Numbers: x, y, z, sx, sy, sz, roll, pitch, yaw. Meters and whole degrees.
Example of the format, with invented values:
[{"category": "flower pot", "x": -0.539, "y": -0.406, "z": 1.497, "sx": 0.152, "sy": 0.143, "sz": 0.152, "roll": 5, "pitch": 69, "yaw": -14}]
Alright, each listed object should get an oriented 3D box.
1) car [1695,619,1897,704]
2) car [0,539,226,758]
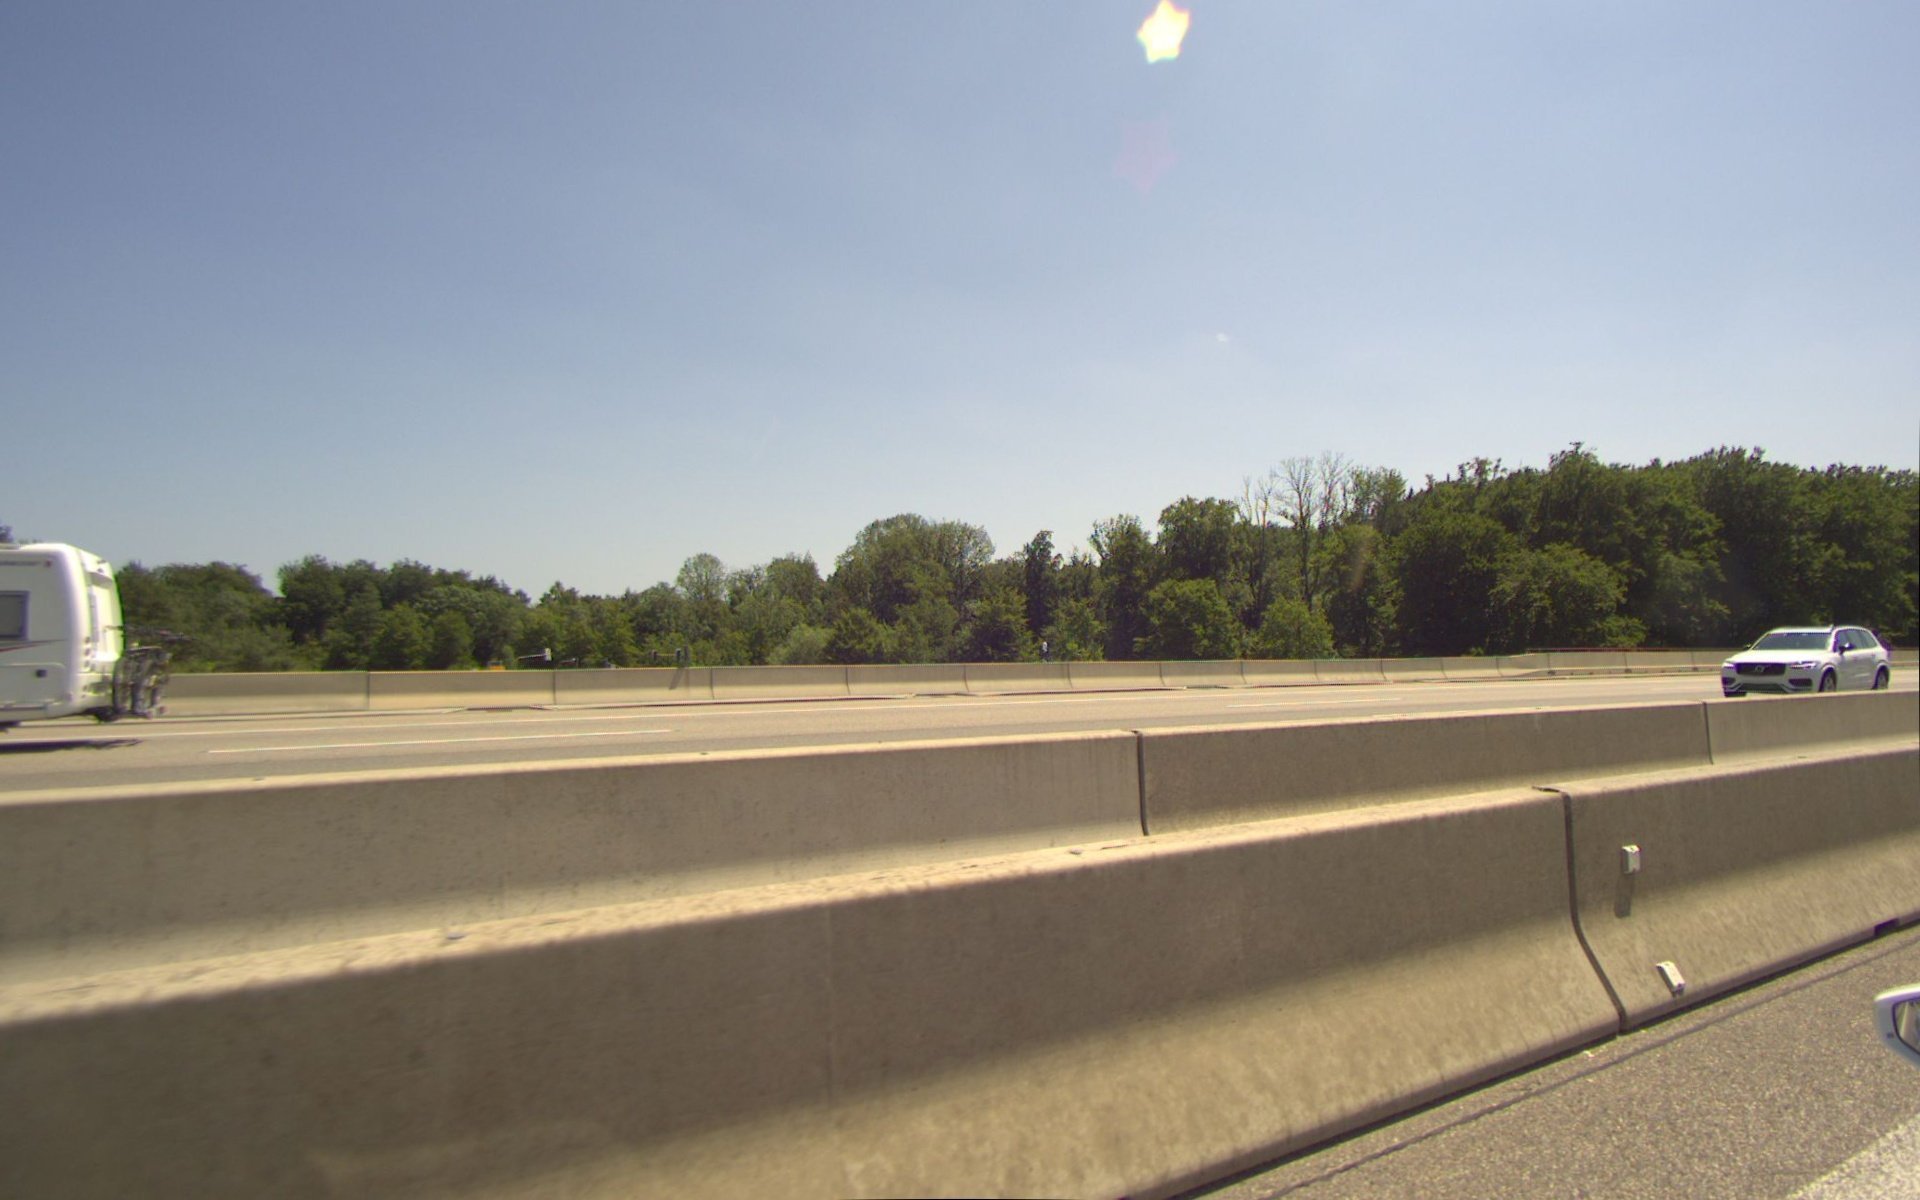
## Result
[{"category": "car", "x": 19.709, "y": 1.392, "z": 23.633, "sx": 5.257, "sy": 1.811, "sz": 1.984, "roll": 1, "pitch": -3, "yaw": -31}, {"category": "car", "x": -14.153, "y": 0.600, "z": 12.294, "sx": 8.079, "sy": 2.693, "sz": 2.211, "roll": 1, "pitch": -3, "yaw": -30}]
